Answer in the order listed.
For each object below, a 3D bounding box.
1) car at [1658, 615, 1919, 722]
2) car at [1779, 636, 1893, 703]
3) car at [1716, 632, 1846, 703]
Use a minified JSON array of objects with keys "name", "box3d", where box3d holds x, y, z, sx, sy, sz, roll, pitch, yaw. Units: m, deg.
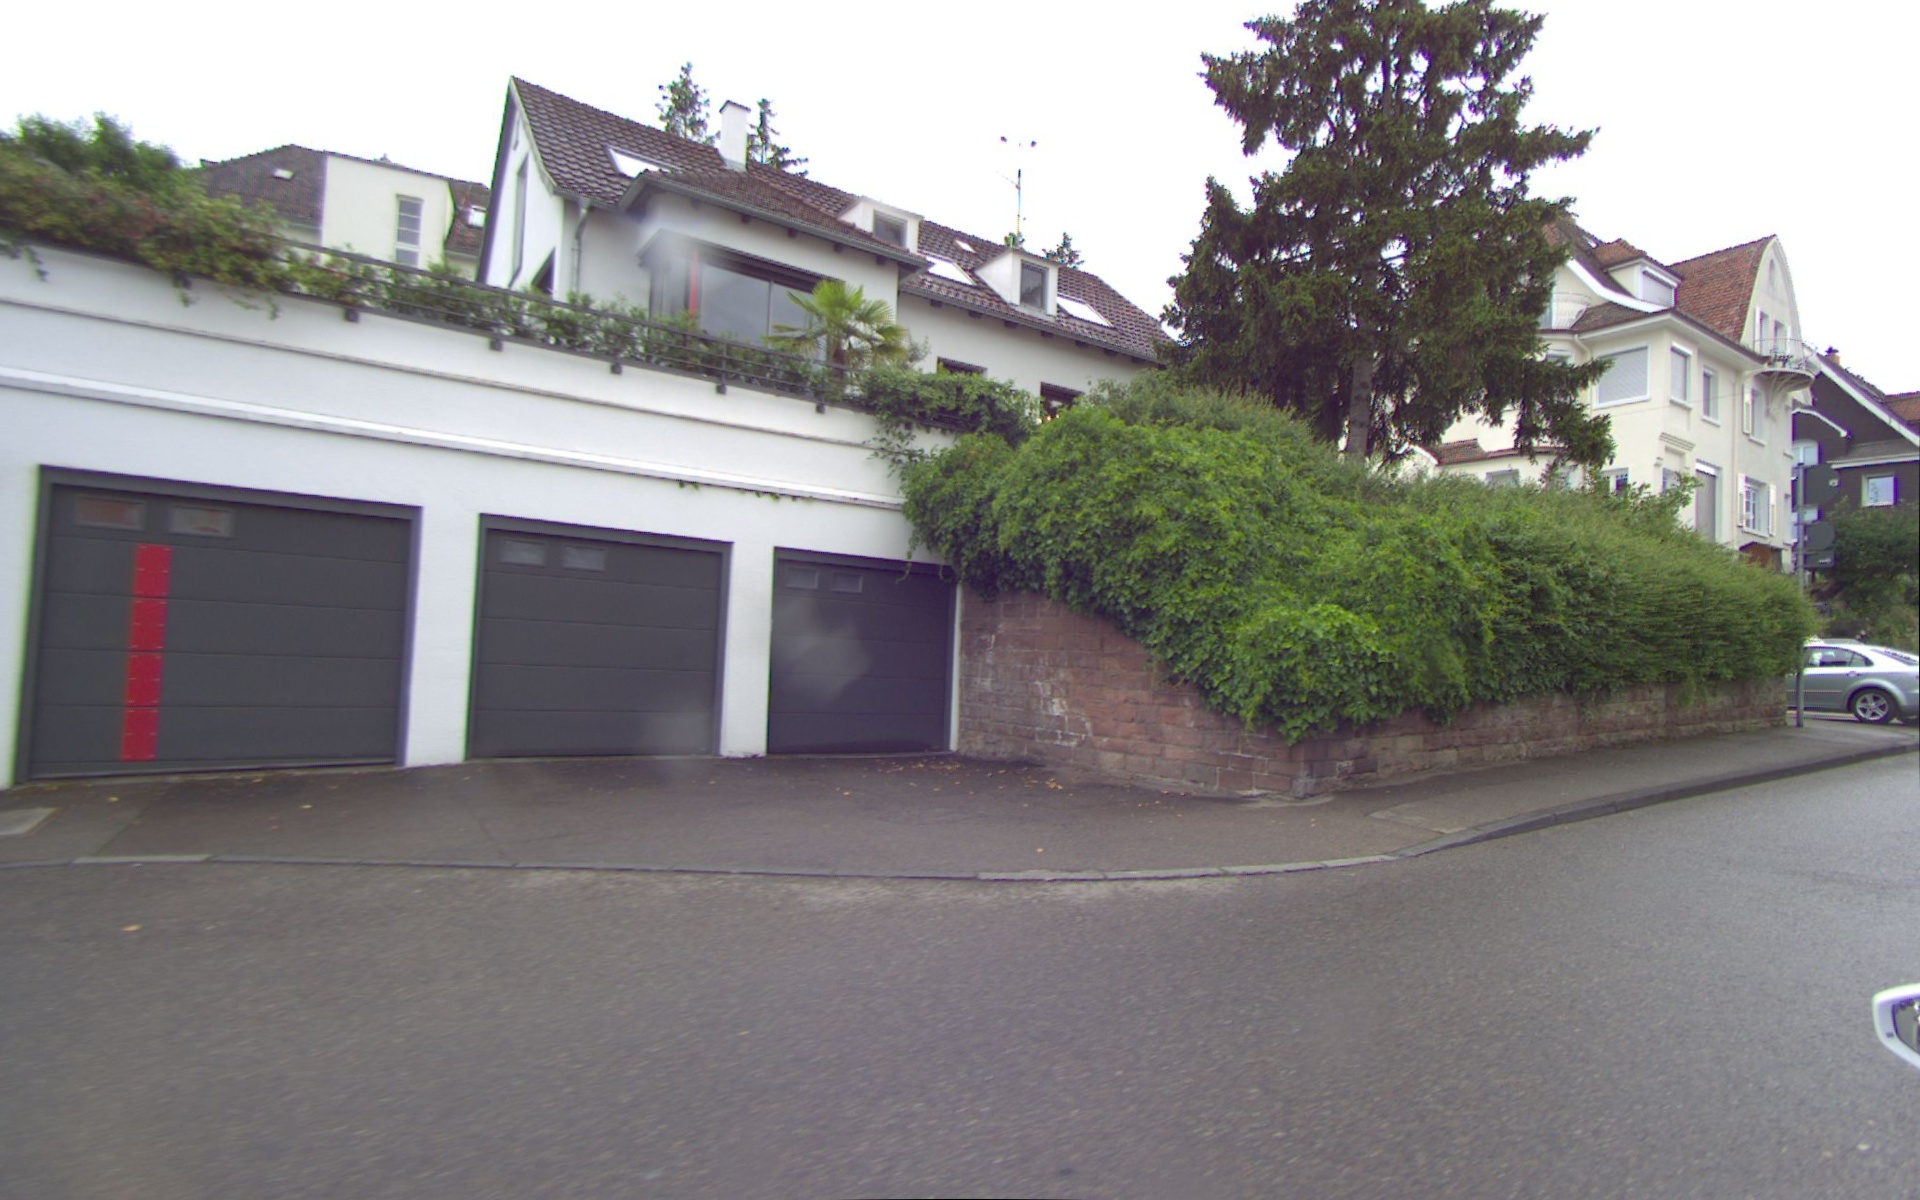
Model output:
[{"name":"car","box3d":[16.156,1.240,19.086,1.800,1.577,4.345,3,1,-29]},{"name":"car","box3d":[24.863,1.935,28.474,3.965,1.719,1.752,3,-2,-38]},{"name":"car","box3d":[21.000,1.686,25.646,3.965,1.639,1.752,3,-2,-38]}]
